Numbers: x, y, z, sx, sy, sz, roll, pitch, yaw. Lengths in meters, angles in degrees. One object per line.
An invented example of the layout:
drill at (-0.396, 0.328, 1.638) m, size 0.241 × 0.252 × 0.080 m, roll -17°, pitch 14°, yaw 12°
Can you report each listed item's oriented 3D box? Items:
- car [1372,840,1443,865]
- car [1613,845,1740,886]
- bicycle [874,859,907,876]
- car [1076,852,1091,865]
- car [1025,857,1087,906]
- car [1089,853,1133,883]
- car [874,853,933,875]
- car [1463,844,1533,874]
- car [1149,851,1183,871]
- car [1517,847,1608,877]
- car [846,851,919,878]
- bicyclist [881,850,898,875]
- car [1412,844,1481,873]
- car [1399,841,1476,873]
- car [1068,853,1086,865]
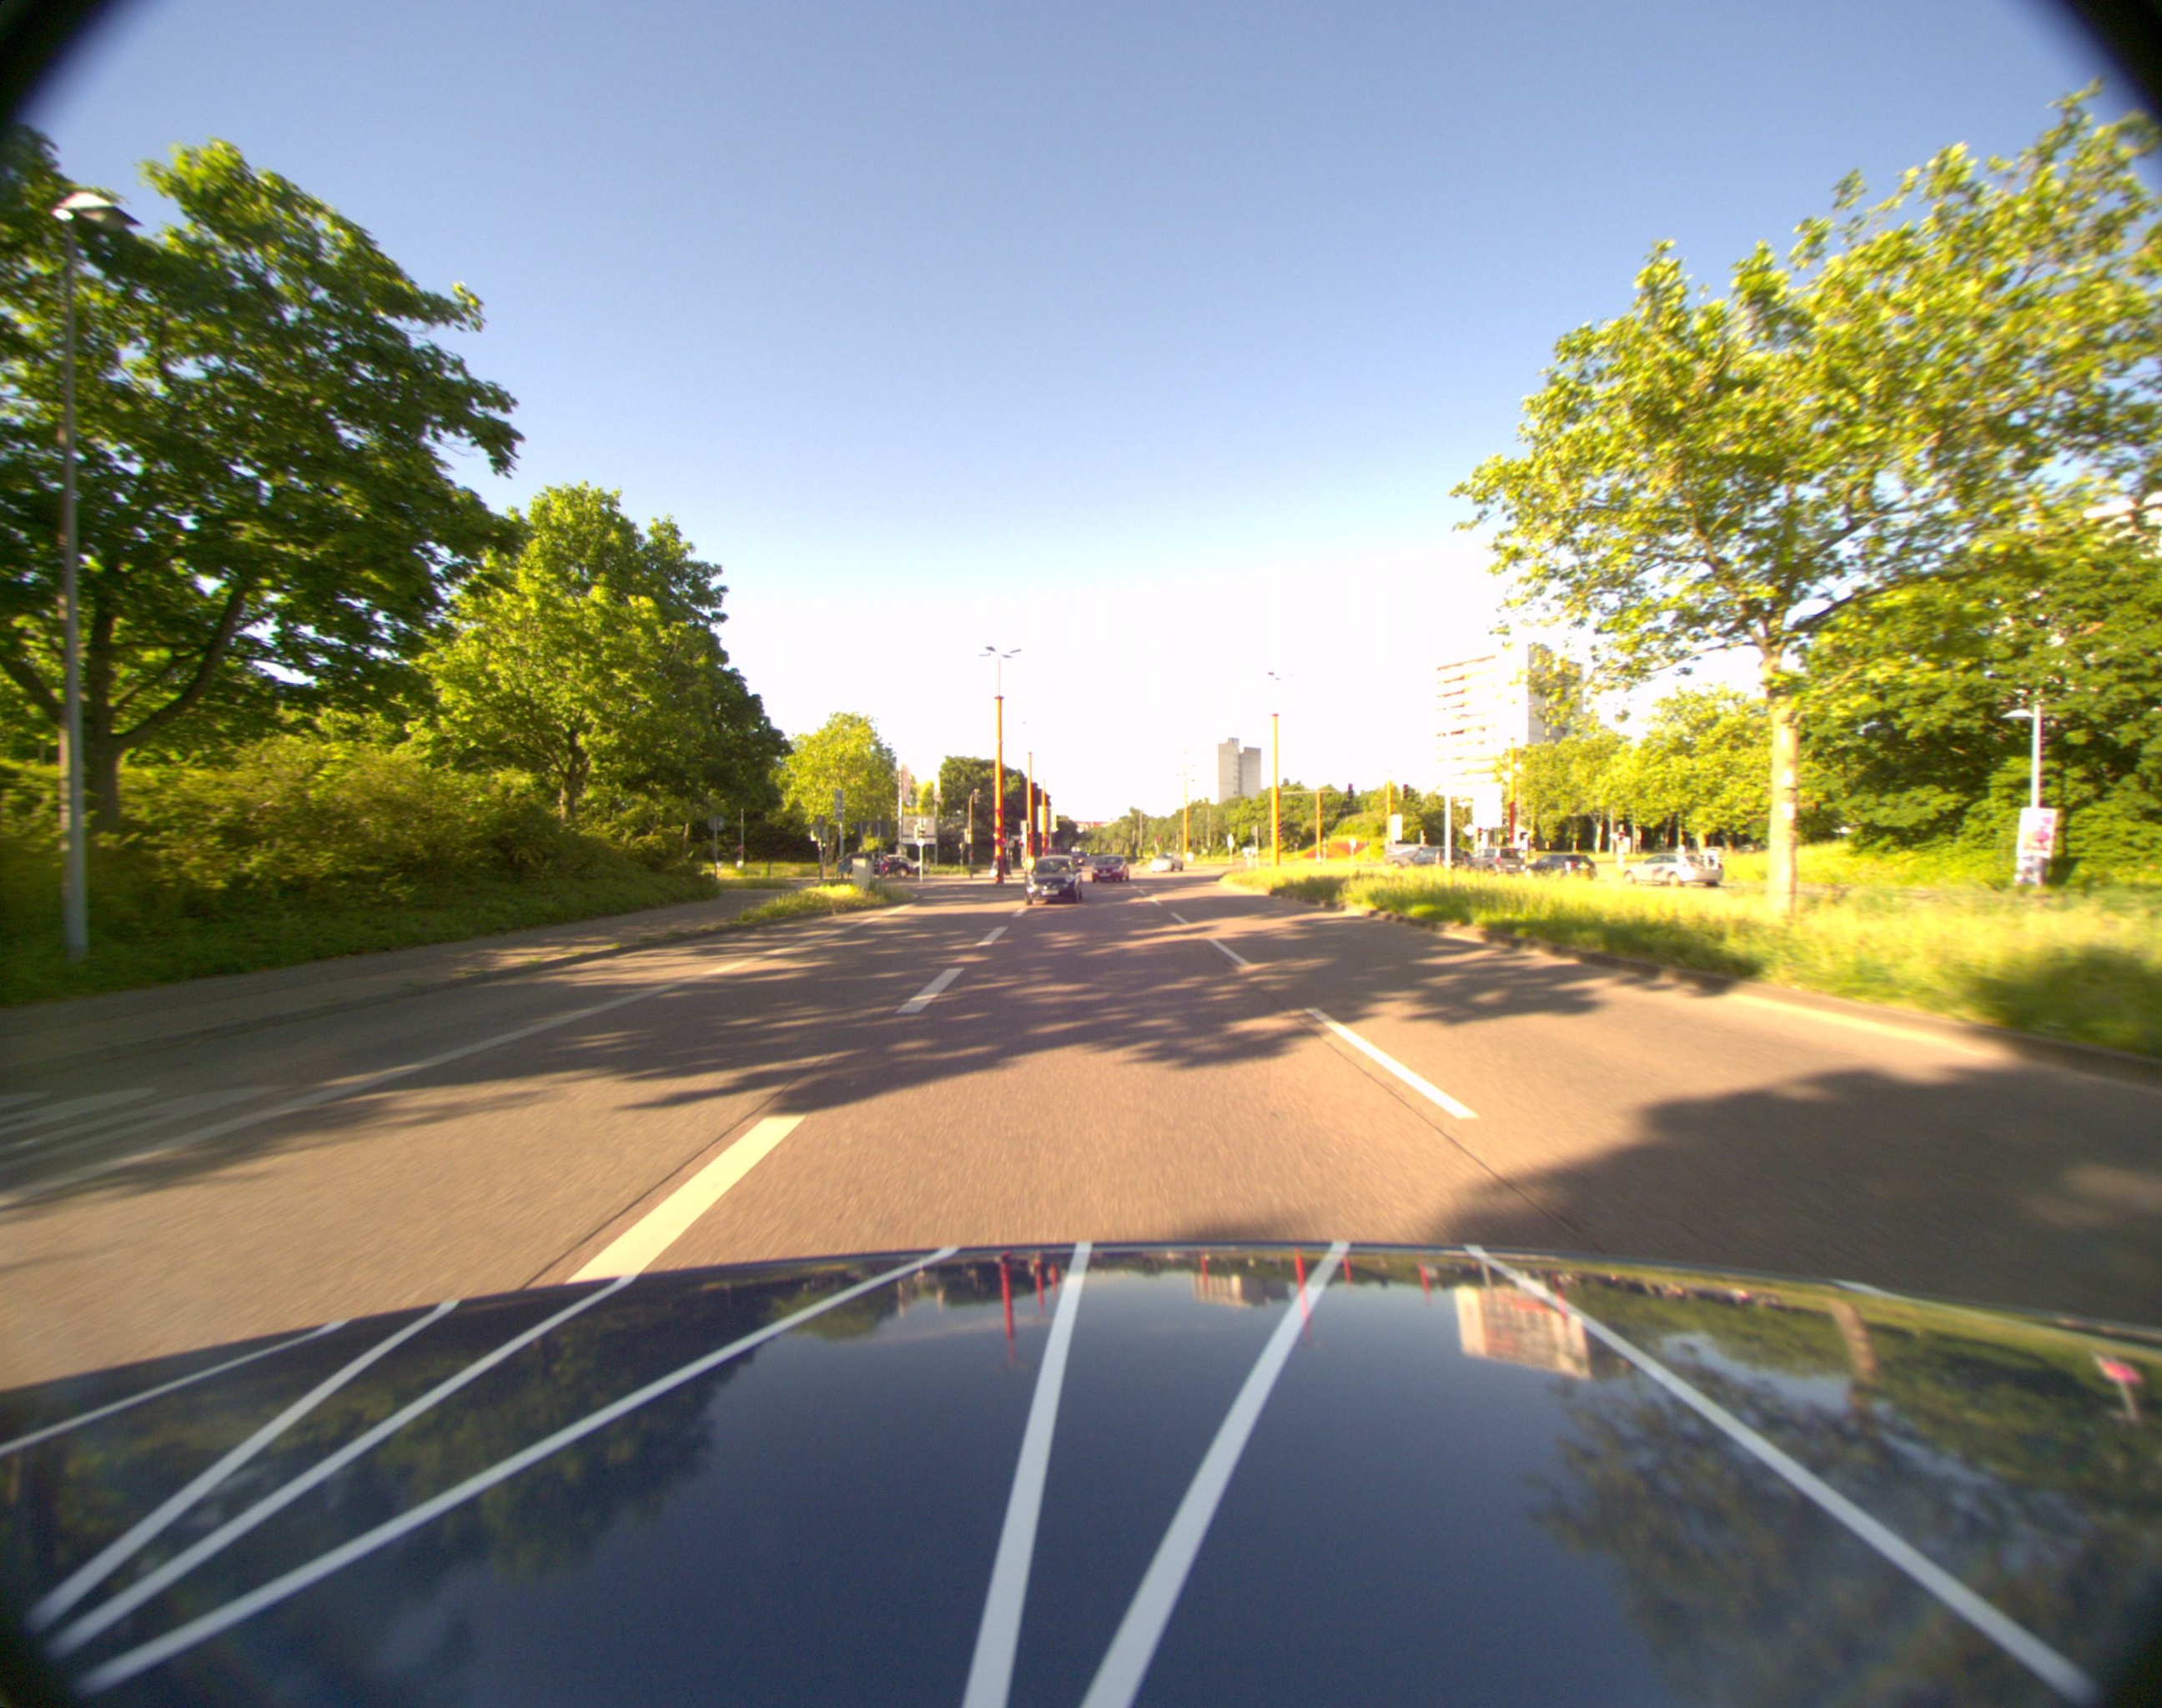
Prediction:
car at (29.690, -0.135, 69.141) m, size 5.645 × 2.191 × 2.045 m, roll -1°, pitch 0°, yaw 34°
car at (25.532, 0.458, 32.837) m, size 1.903 × 1.601 × 4.565 m, roll 1°, pitch 0°, yaw 0°
bicycle at (-12.095, 0.857, 48.251) m, size 2.015 × 1.085 × 0.765 m, roll 0°, pitch 1°, yaw -10°
car at (0.416, 0.536, 103.441) m, size 1.998 × 1.722 × 4.818 m, roll 0°, pitch 0°, yaw 1°
car at (-0.742, 0.845, 25.471) m, size 1.739 × 1.474 × 4.623 m, roll 0°, pitch 0°, yaw 2°
car at (1.734, 0.729, 42.300) m, size 1.770 × 1.549 × 4.730 m, roll -1°, pitch 0°, yaw 10°
car at (-12.971, 0.692, 55.505) m, size 4.094 × 1.529 × 1.770 m, roll -1°, pitch 0°, yaw -18°
car at (25.538, 0.295, 46.733) m, size 1.903 × 1.765 × 4.446 m, roll 1°, pitch 0°, yaw 0°
car at (6.790, 0.525, 60.089) m, size 1.911 × 1.549 × 4.732 m, roll -1°, pitch 0°, yaw 16°
car at (25.348, 0.412, 40.210) m, size 1.903 × 1.466 × 4.565 m, roll 1°, pitch 0°, yaw 0°
car at (-13.436, 0.670, 51.435) m, size 4.657 × 1.716 × 1.906 m, roll -1°, pitch 0°, yaw -17°
bicyclist at (-12.174, 0.542, 48.230) m, size 0.981 × 1.548 × 0.761 m, roll 0°, pitch 1°, yaw -10°
car at (21.776, 0.252, 45.493) m, size 1.903 × 1.601 × 4.565 m, roll 1°, pitch 0°, yaw 0°
car at (18.601, 0.158, 39.872) m, size 1.903 × 1.556 × 4.565 m, roll 1°, pitch 0°, yaw 0°
car at (-0.502, 0.586, 94.587) m, size 1.999 × 1.486 × 4.288 m, roll 0°, pitch 0°, yaw -3°
